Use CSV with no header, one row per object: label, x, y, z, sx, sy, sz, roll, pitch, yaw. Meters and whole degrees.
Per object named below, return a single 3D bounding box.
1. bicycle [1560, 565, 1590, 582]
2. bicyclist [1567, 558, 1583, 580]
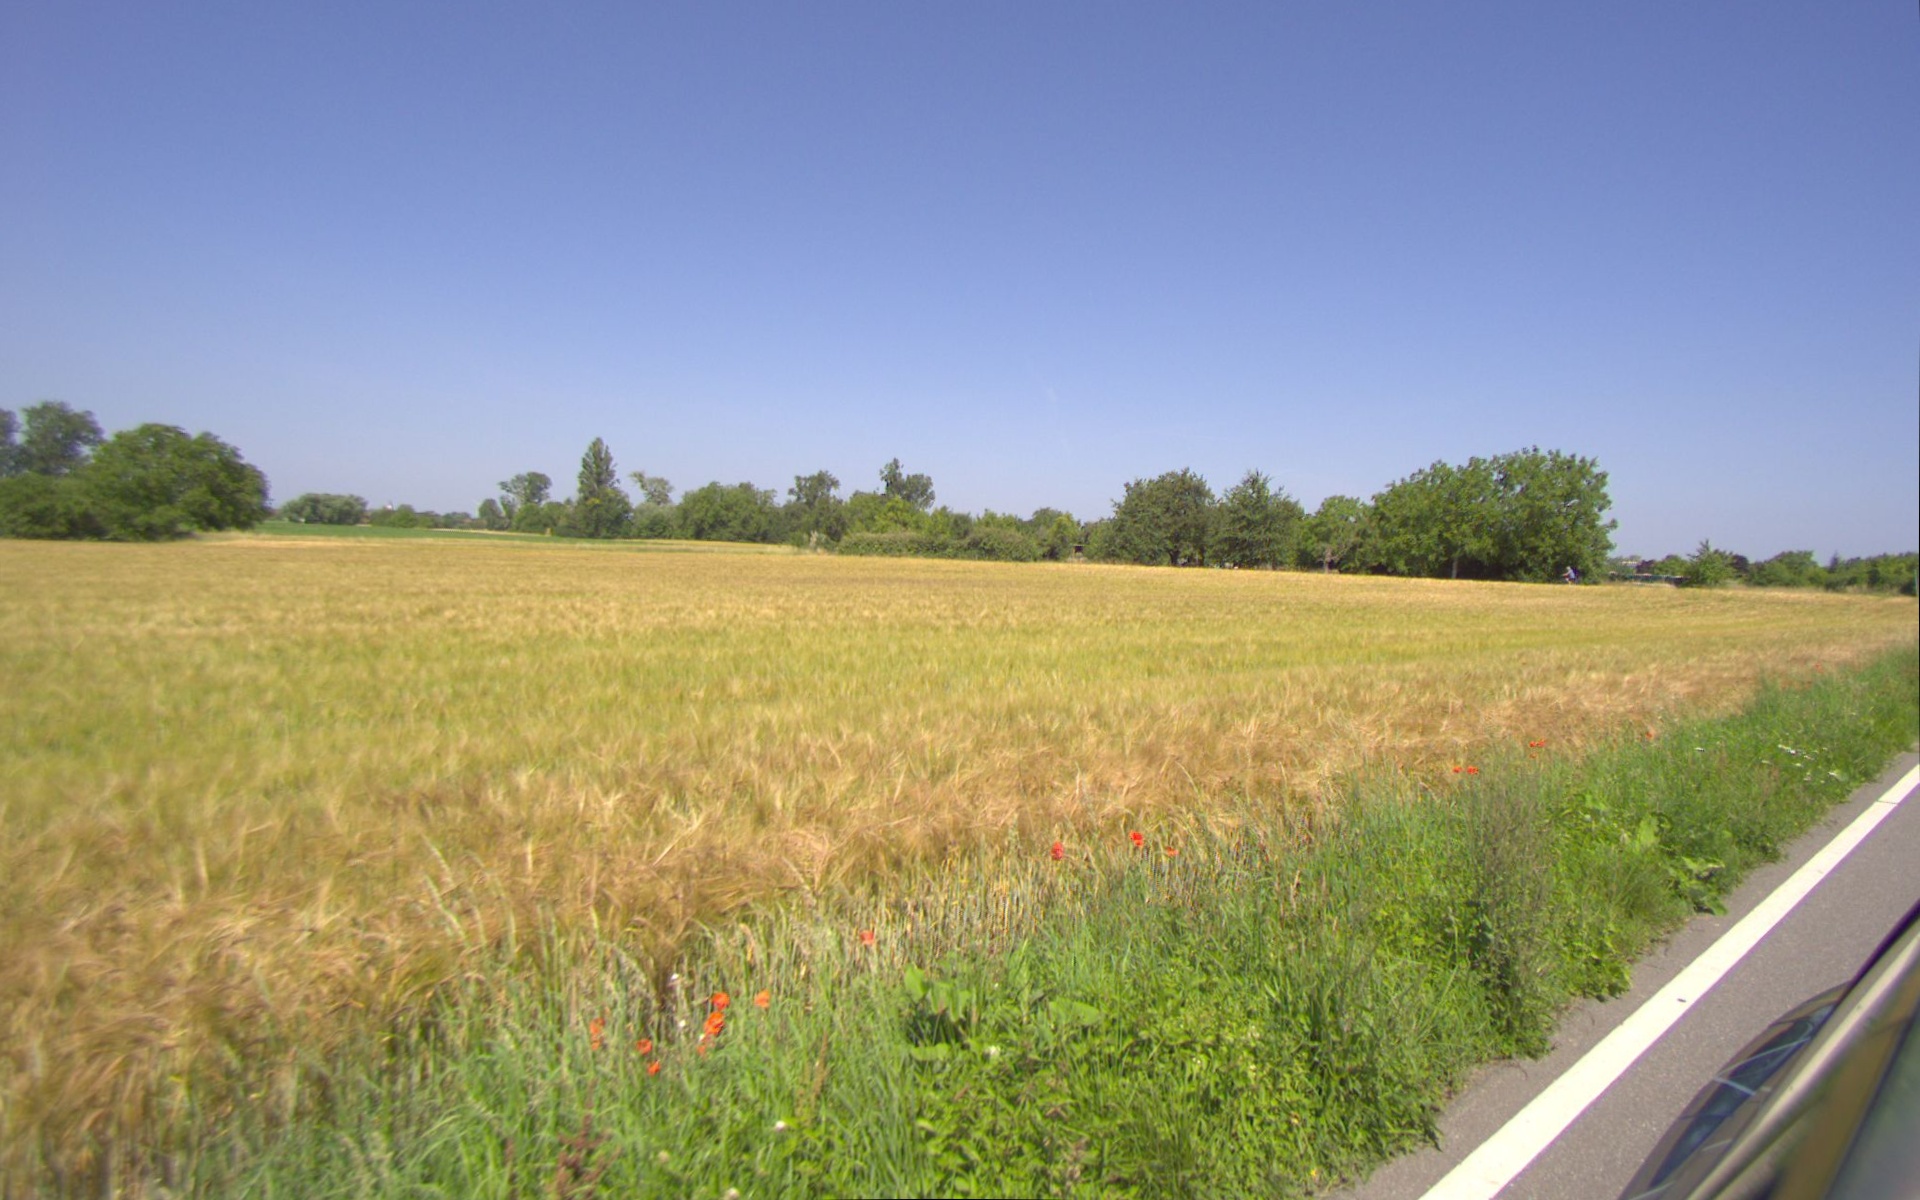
bicycle,44.311,-1.885,72.931,1.740,1.129,0.521,3,3,10
bicyclist,44.305,-2.238,72.918,0.723,1.592,0.673,2,3,9
